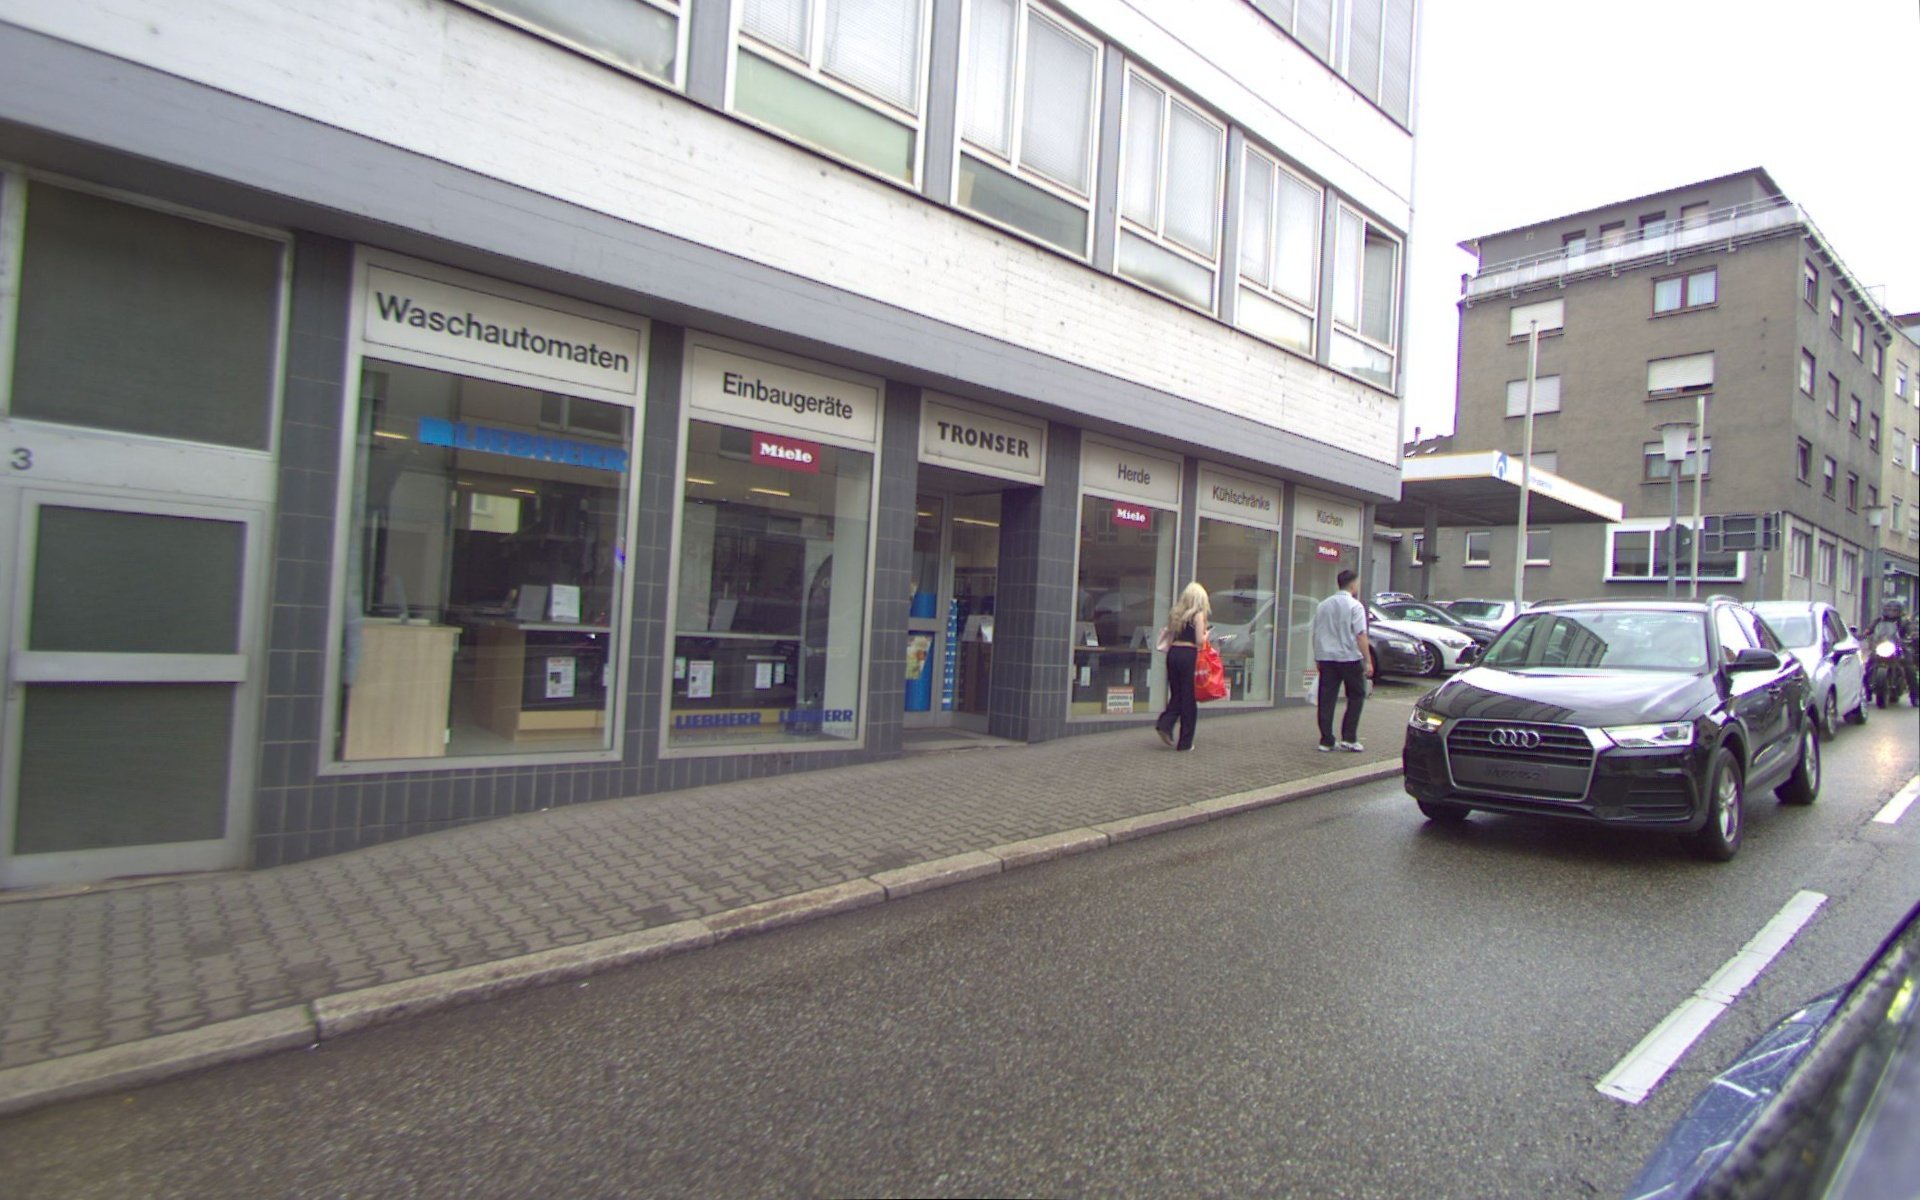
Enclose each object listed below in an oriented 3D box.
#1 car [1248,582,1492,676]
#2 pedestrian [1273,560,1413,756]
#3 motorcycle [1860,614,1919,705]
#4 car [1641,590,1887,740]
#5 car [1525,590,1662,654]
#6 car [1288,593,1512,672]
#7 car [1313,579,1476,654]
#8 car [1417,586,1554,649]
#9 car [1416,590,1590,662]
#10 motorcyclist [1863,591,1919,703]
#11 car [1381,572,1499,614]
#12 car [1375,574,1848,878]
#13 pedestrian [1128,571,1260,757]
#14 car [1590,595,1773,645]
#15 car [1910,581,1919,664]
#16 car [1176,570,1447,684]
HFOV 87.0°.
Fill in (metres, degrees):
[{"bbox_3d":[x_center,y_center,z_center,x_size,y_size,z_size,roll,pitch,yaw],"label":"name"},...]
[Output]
[{"bbox_3d":[7.639,0.463,18.965,3.973,1.549,1.742,1,1,34],"label":"car"},{"bbox_3d":[3.678,0.506,9.708,1.102,1.726,0.785,0,4,-44],"label":"pedestrian"},{"bbox_3d":[14.069,0.852,15.077,0.844,1.241,2.335,-3,-2,44],"label":"motorcycle"},{"bbox_3d":[10.126,0.707,12.627,4.182,1.561,1.827,0,-2,-44],"label":"car"},{"bbox_3d":[16.765,0.527,26.704,4.358,1.531,1.792,0,1,-40],"label":"car"},{"bbox_3d":[9.003,0.593,20.818,3.976,1.418,1.650,1,1,36],"label":"car"},{"bbox_3d":[10.752,0.414,24.929,4.411,1.563,1.793,2,3,-40],"label":"car"},{"bbox_3d":[14.801,0.505,28.414,4.339,1.530,1.793,2,3,-40],"label":"car"},{"bbox_3d":[12.360,0.539,22.924,4.530,1.433,1.793,0,2,-38],"label":"car"},{"bbox_3d":[14.066,0.679,15.065,0.845,1.610,0.947,-3,-2,44],"label":"motorcyclist"},{"bbox_3d":[18.871,-0.303,39.905,1.761,1.472,3.753,3,0,-38],"label":"car"},{"bbox_3d":[4.890,0.685,7.354,4.128,1.580,1.825,0,-2,-42],"label":"car"},{"bbox_3d":[2.149,0.543,9.302,0.876,1.569,0.766,0,4,-43],"label":"pedestrian"},{"bbox_3d":[23.787,0.635,33.527,1.962,1.523,4.534,0,-1,-36],"label":"car"},{"bbox_3d":[24.327,0.536,24.207,3.697,1.927,1.848,0,1,-39],"label":"car"},{"bbox_3d":[5.918,0.371,17.182,3.973,1.468,1.777,5,3,33],"label":"car"}]
